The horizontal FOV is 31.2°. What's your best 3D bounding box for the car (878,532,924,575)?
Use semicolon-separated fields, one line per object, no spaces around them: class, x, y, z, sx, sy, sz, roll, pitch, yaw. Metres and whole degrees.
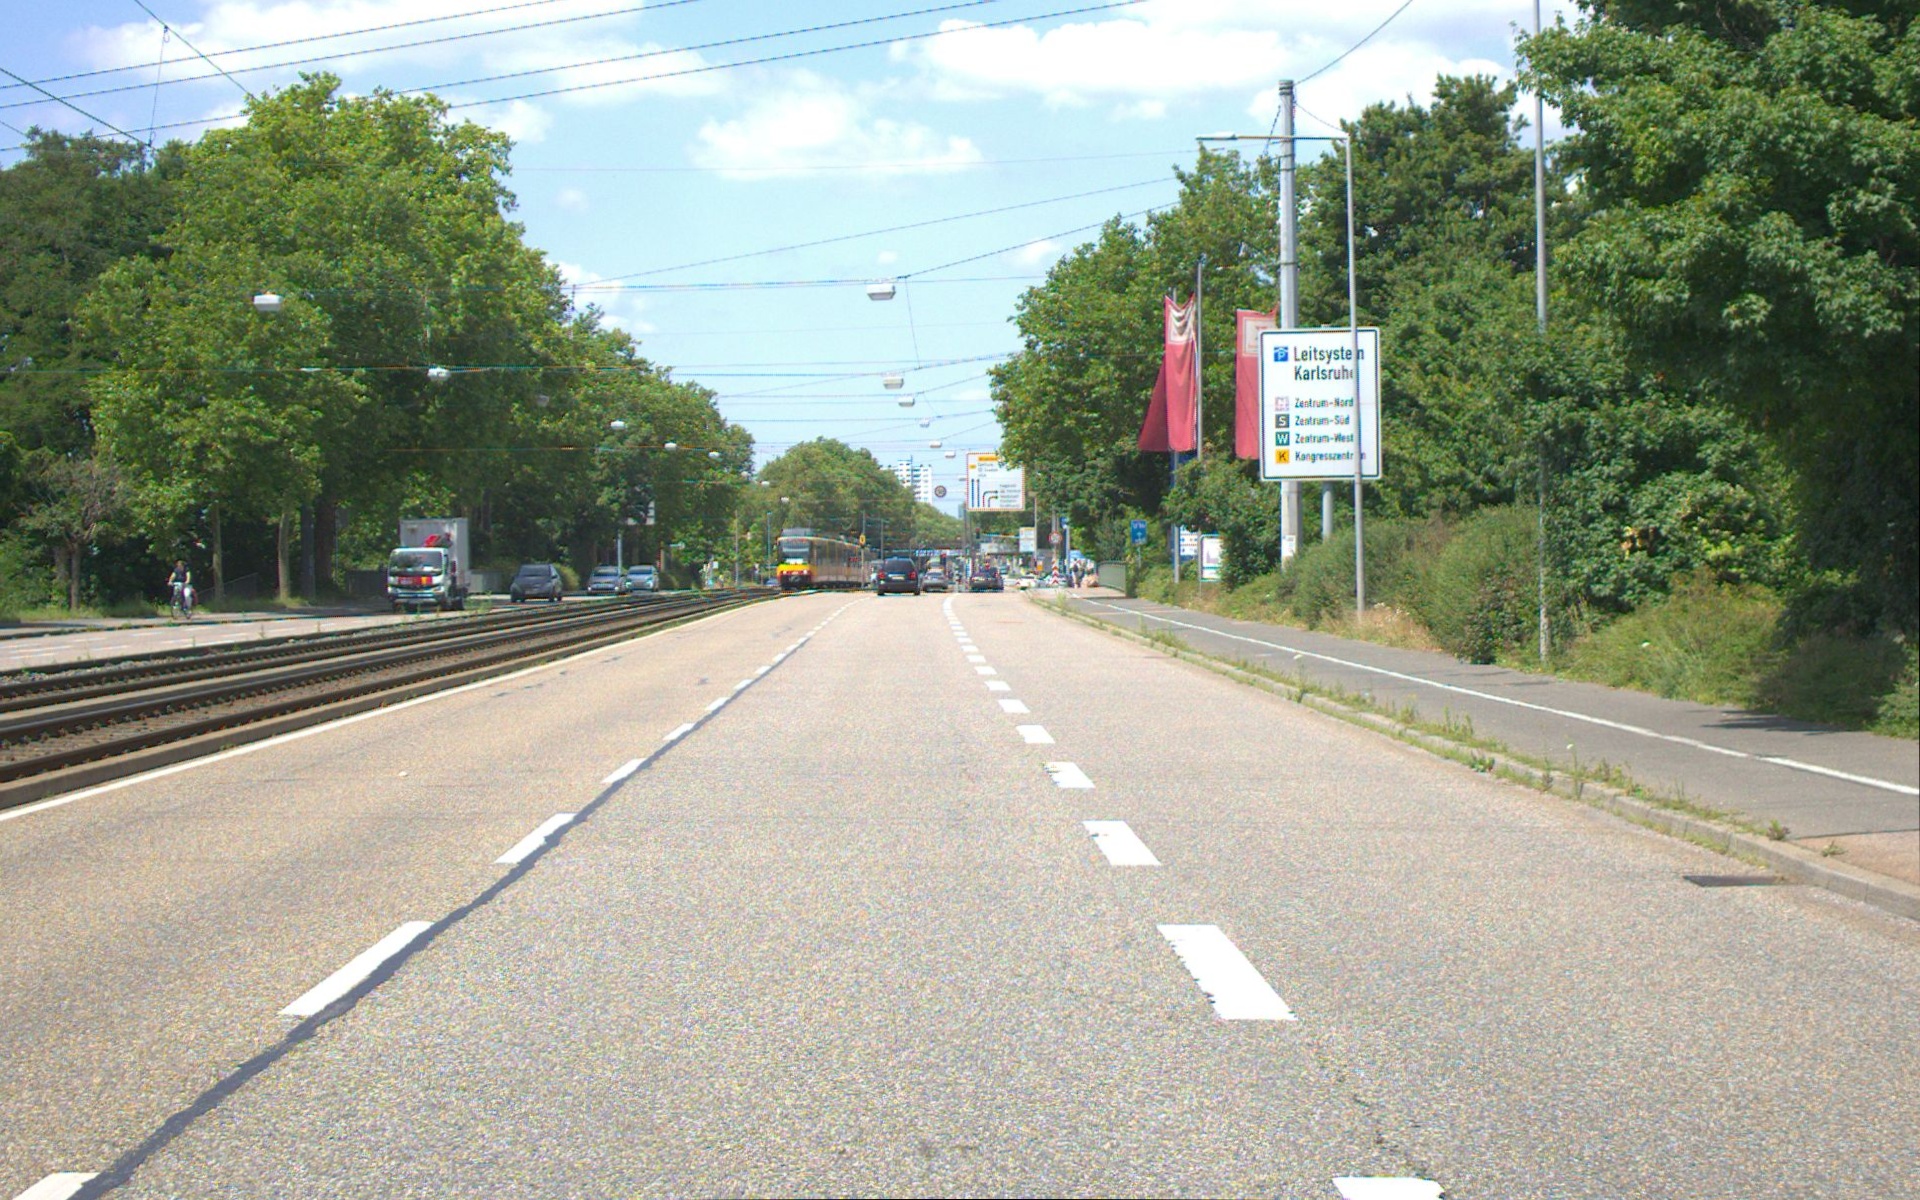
car;-2.523;-1.987;147.375;1.899;1.799;3.976;1;0;-1

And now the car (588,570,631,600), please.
car;-17.372;-0.737;170.557;1.636;1.417;4.127;-1;1;0

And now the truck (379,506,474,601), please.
truck;-18.536;-1.625;119.715;2.250;3.225;6.042;-1;1;1

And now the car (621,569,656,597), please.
car;-17.673;-0.943;189.064;1.636;1.431;3.722;-2;1;-1

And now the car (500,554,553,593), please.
car;-17.764;-1.091;140.939;1.752;1.530;3.957;-1;1;-2

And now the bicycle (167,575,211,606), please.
bicycle;-22.331;-0.291;99.609;0.651;0.856;2.120;1;1;3

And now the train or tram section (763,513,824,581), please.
train or tram section;-10.798;-3.466;224.378;3.048;4.252;15.423;-1;1;1

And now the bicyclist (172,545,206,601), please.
bicyclist;-22.324;-0.788;99.550;0.651;1.614;1.155;1;1;3
